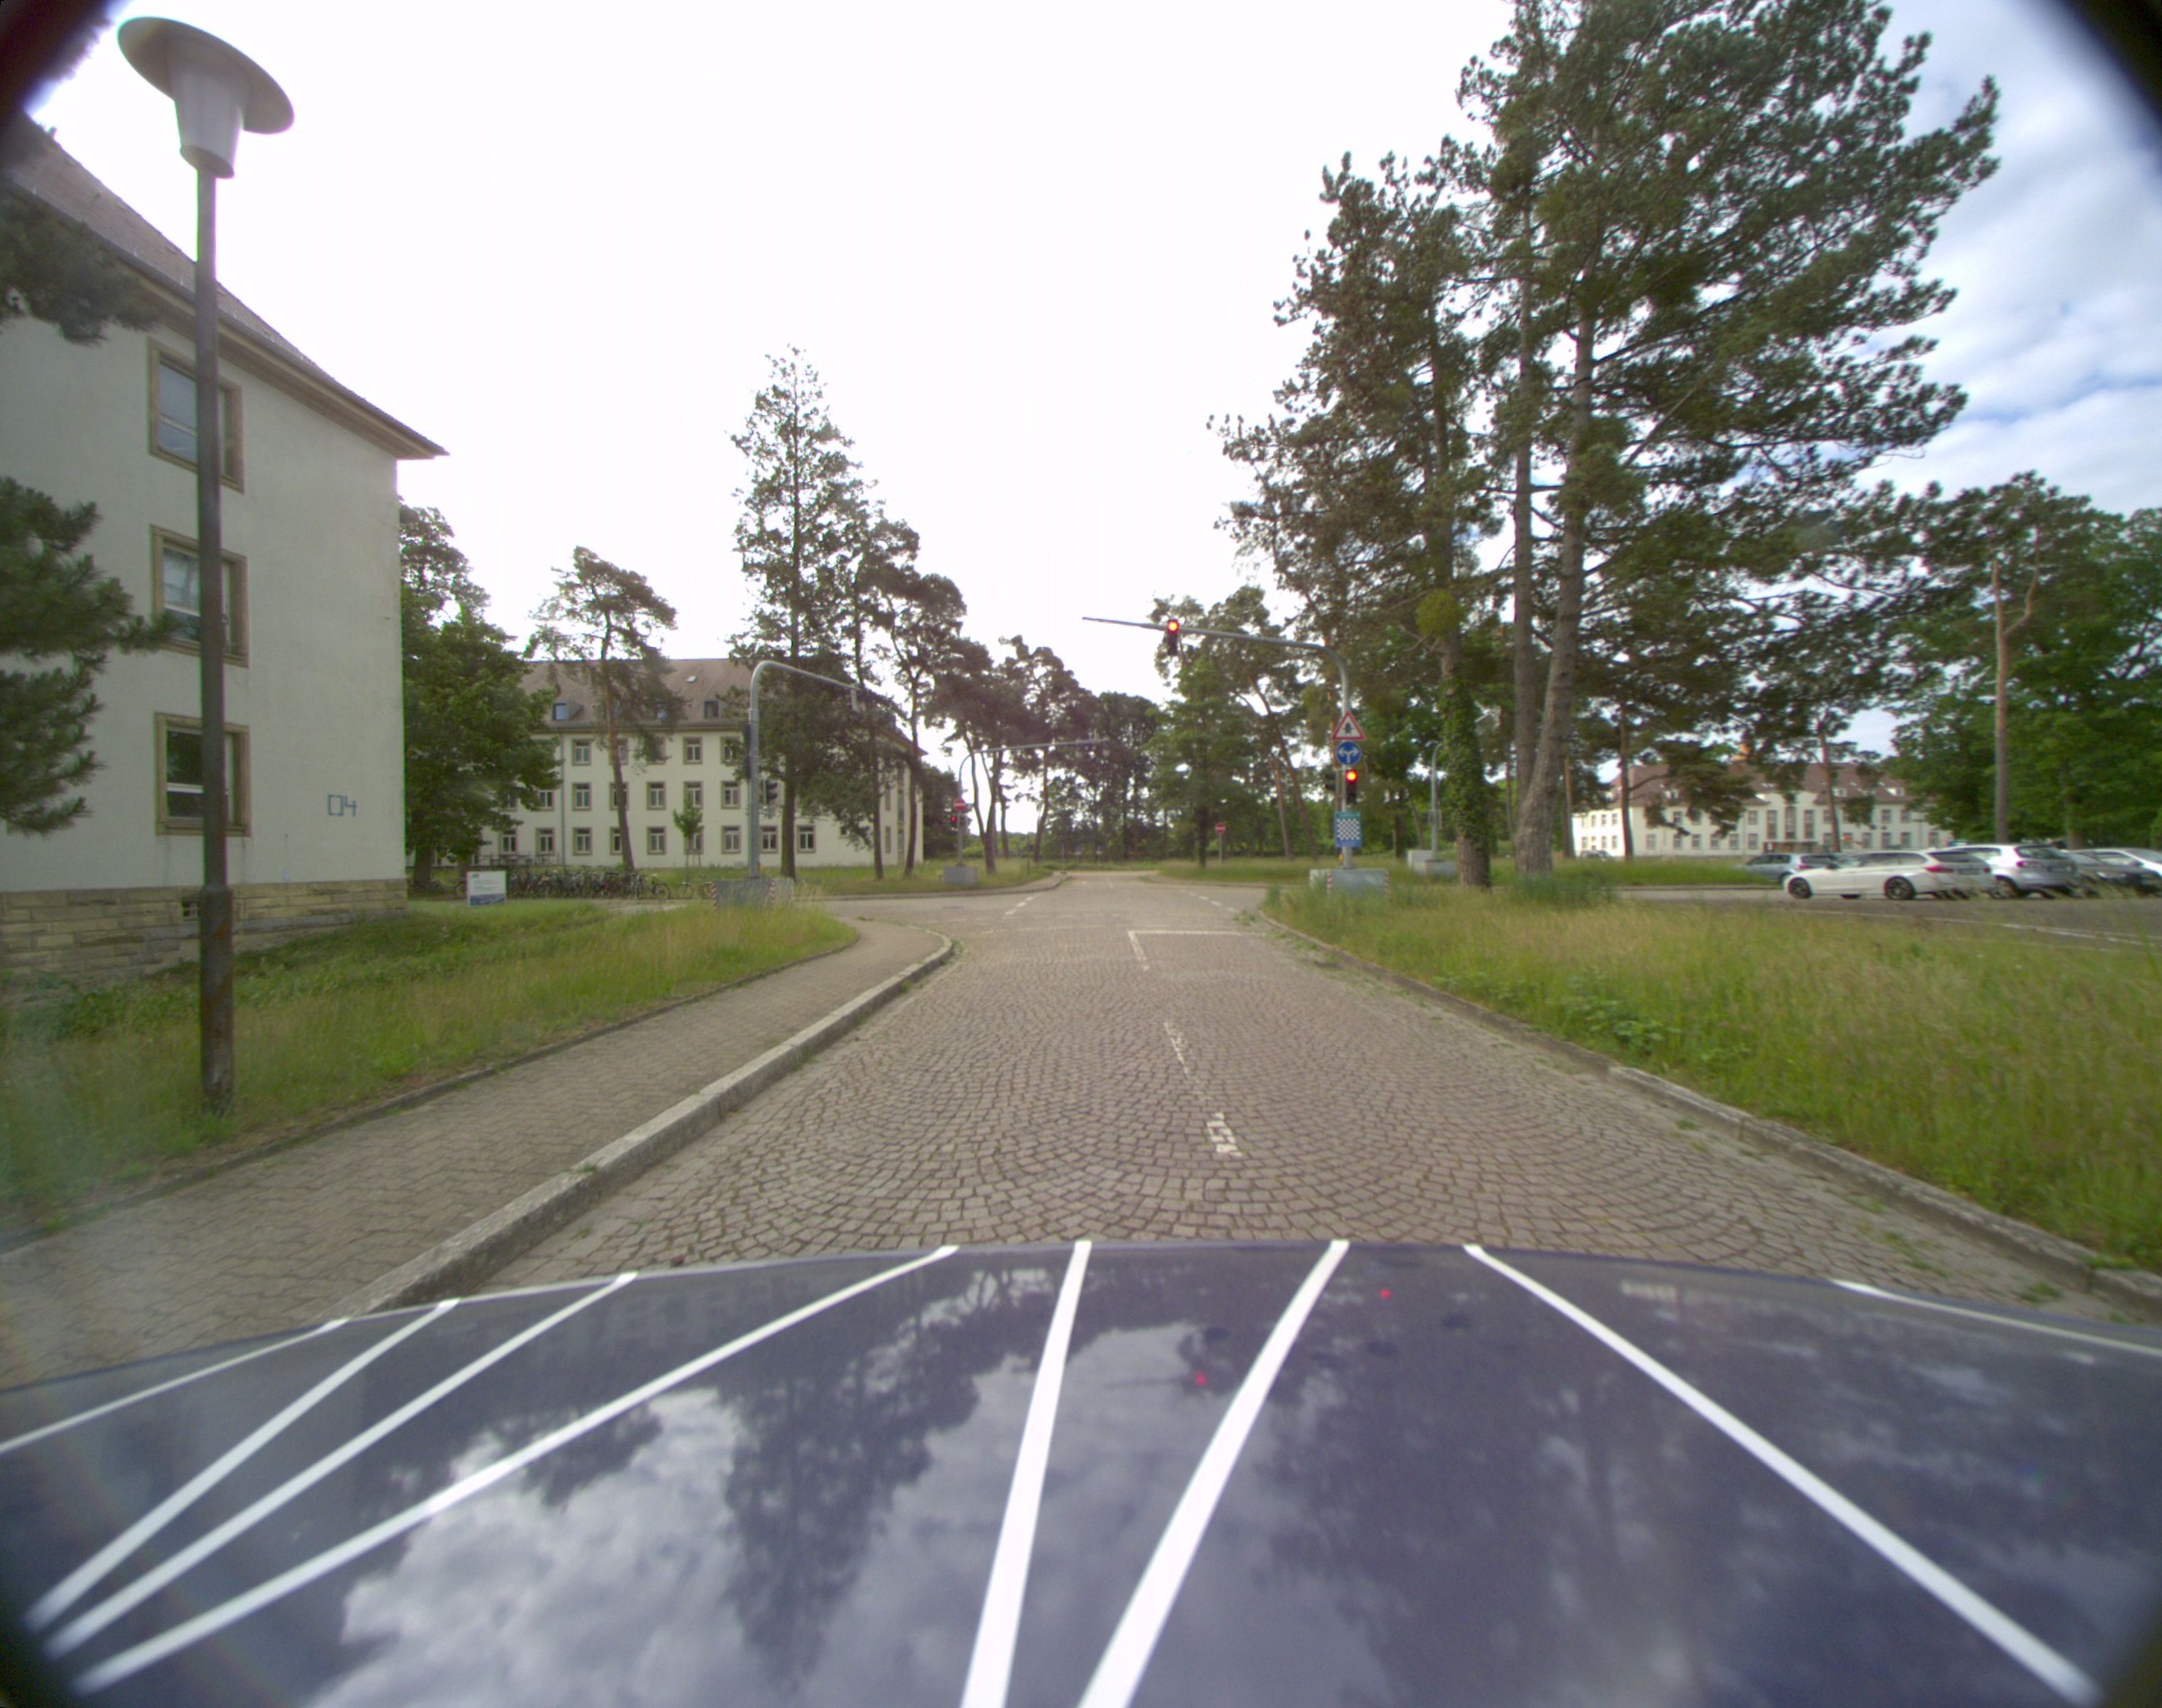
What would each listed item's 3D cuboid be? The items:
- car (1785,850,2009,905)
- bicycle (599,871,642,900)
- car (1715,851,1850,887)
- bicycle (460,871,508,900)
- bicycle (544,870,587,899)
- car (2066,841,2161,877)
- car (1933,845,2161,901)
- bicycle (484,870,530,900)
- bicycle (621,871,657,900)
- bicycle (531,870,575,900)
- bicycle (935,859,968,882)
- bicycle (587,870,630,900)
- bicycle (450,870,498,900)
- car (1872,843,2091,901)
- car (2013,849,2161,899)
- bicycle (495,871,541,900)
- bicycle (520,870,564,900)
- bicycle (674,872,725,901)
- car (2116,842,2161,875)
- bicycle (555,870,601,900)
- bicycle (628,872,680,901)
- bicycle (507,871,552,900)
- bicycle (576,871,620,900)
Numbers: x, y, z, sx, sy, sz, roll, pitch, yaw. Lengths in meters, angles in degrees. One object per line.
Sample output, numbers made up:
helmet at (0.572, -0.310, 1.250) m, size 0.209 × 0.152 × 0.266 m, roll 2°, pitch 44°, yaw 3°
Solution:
car at (23.482, 0.607, 22.158) m, size 1.829 × 1.417 × 4.319 m, roll -1°, pitch 0°, yaw -1°
bicycle at (-18.614, 1.253, 30.734) m, size 0.476 × 1.121 × 1.704 m, roll -1°, pitch 0°, yaw 10°
car at (30.787, 0.630, 33.537) m, size 1.829 × 1.466 × 4.401 m, roll -1°, pitch 0°, yaw -1°
bicycle at (-24.385, 1.271, 31.072) m, size 0.448 × 1.121 × 1.731 m, roll -1°, pitch 0°, yaw 4°
bicycle at (-20.925, 1.217, 30.866) m, size 0.448 × 1.121 × 1.731 m, roll -1°, pitch 0°, yaw 5°
car at (46.281, 0.193, 32.748) m, size 1.829 × 1.467 × 4.401 m, roll -3°, pitch 0°, yaw -3°
car at (28.646, 0.504, 22.519) m, size 1.829 × 1.466 × 4.401 m, roll -1°, pitch 0°, yaw -1°
bicycle at (-23.421, 1.254, 31.047) m, size 0.448 × 1.121 × 1.731 m, roll -1°, pitch 0°, yaw 4°
bicycle at (-17.985, 1.257, 30.955) m, size 0.476 × 1.121 × 1.657 m, roll -1°, pitch 0°, yaw 0°
bicycle at (-21.434, 1.253, 30.899) m, size 0.448 × 1.121 × 1.731 m, roll -1°, pitch 0°, yaw 4°
bicycle at (-6.338, 0.817, 37.178) m, size 0.613 × 1.079 × 1.660 m, roll 0°, pitch 0°, yaw 33°
bicycle at (-19.107, 1.248, 30.768) m, size 0.447 × 1.121 × 1.703 m, roll -1°, pitch 0°, yaw 10°
bicycle at (-24.824, 1.250, 31.085) m, size 0.448 × 1.121 × 1.731 m, roll -1°, pitch 0°, yaw 4°
car at (25.989, 0.542, 22.158) m, size 1.674 × 1.510 × 3.899 m, roll -1°, pitch -2°, yaw -1°
car at (31.452, 0.557, 22.949) m, size 1.637 × 1.391 × 4.037 m, roll -1°, pitch 0°, yaw -1°
bicycle at (-22.940, 1.272, 31.004) m, size 0.448 × 1.121 × 1.731 m, roll -1°, pitch 0°, yaw 4°
bicycle at (-21.915, 1.253, 30.938) m, size 0.448 × 1.121 × 1.731 m, roll -1°, pitch 0°, yaw 4°
bicycle at (-14.750, 1.248, 29.397) m, size 1.656 × 1.079 × 0.614 m, roll -1°, pitch 1°, yaw -2°
car at (49.220, 0.212, 33.212) m, size 1.830 × 1.466 × 4.401 m, roll -1°, pitch 0°, yaw -3°
bicycle at (-20.376, 1.251, 30.811) m, size 0.447 × 1.121 × 1.732 m, roll -1°, pitch 0°, yaw 10°
bicycle at (-16.453, 1.252, 29.288) m, size 1.655 × 1.079 × 0.615 m, roll -1°, pitch 1°, yaw 3°
bicycle at (-22.455, 1.277, 30.956) m, size 0.448 × 1.121 × 1.731 m, roll -1°, pitch 0°, yaw 4°
bicycle at (-19.582, 1.268, 30.843) m, size 0.447 × 1.121 × 1.732 m, roll -1°, pitch 0°, yaw 10°
